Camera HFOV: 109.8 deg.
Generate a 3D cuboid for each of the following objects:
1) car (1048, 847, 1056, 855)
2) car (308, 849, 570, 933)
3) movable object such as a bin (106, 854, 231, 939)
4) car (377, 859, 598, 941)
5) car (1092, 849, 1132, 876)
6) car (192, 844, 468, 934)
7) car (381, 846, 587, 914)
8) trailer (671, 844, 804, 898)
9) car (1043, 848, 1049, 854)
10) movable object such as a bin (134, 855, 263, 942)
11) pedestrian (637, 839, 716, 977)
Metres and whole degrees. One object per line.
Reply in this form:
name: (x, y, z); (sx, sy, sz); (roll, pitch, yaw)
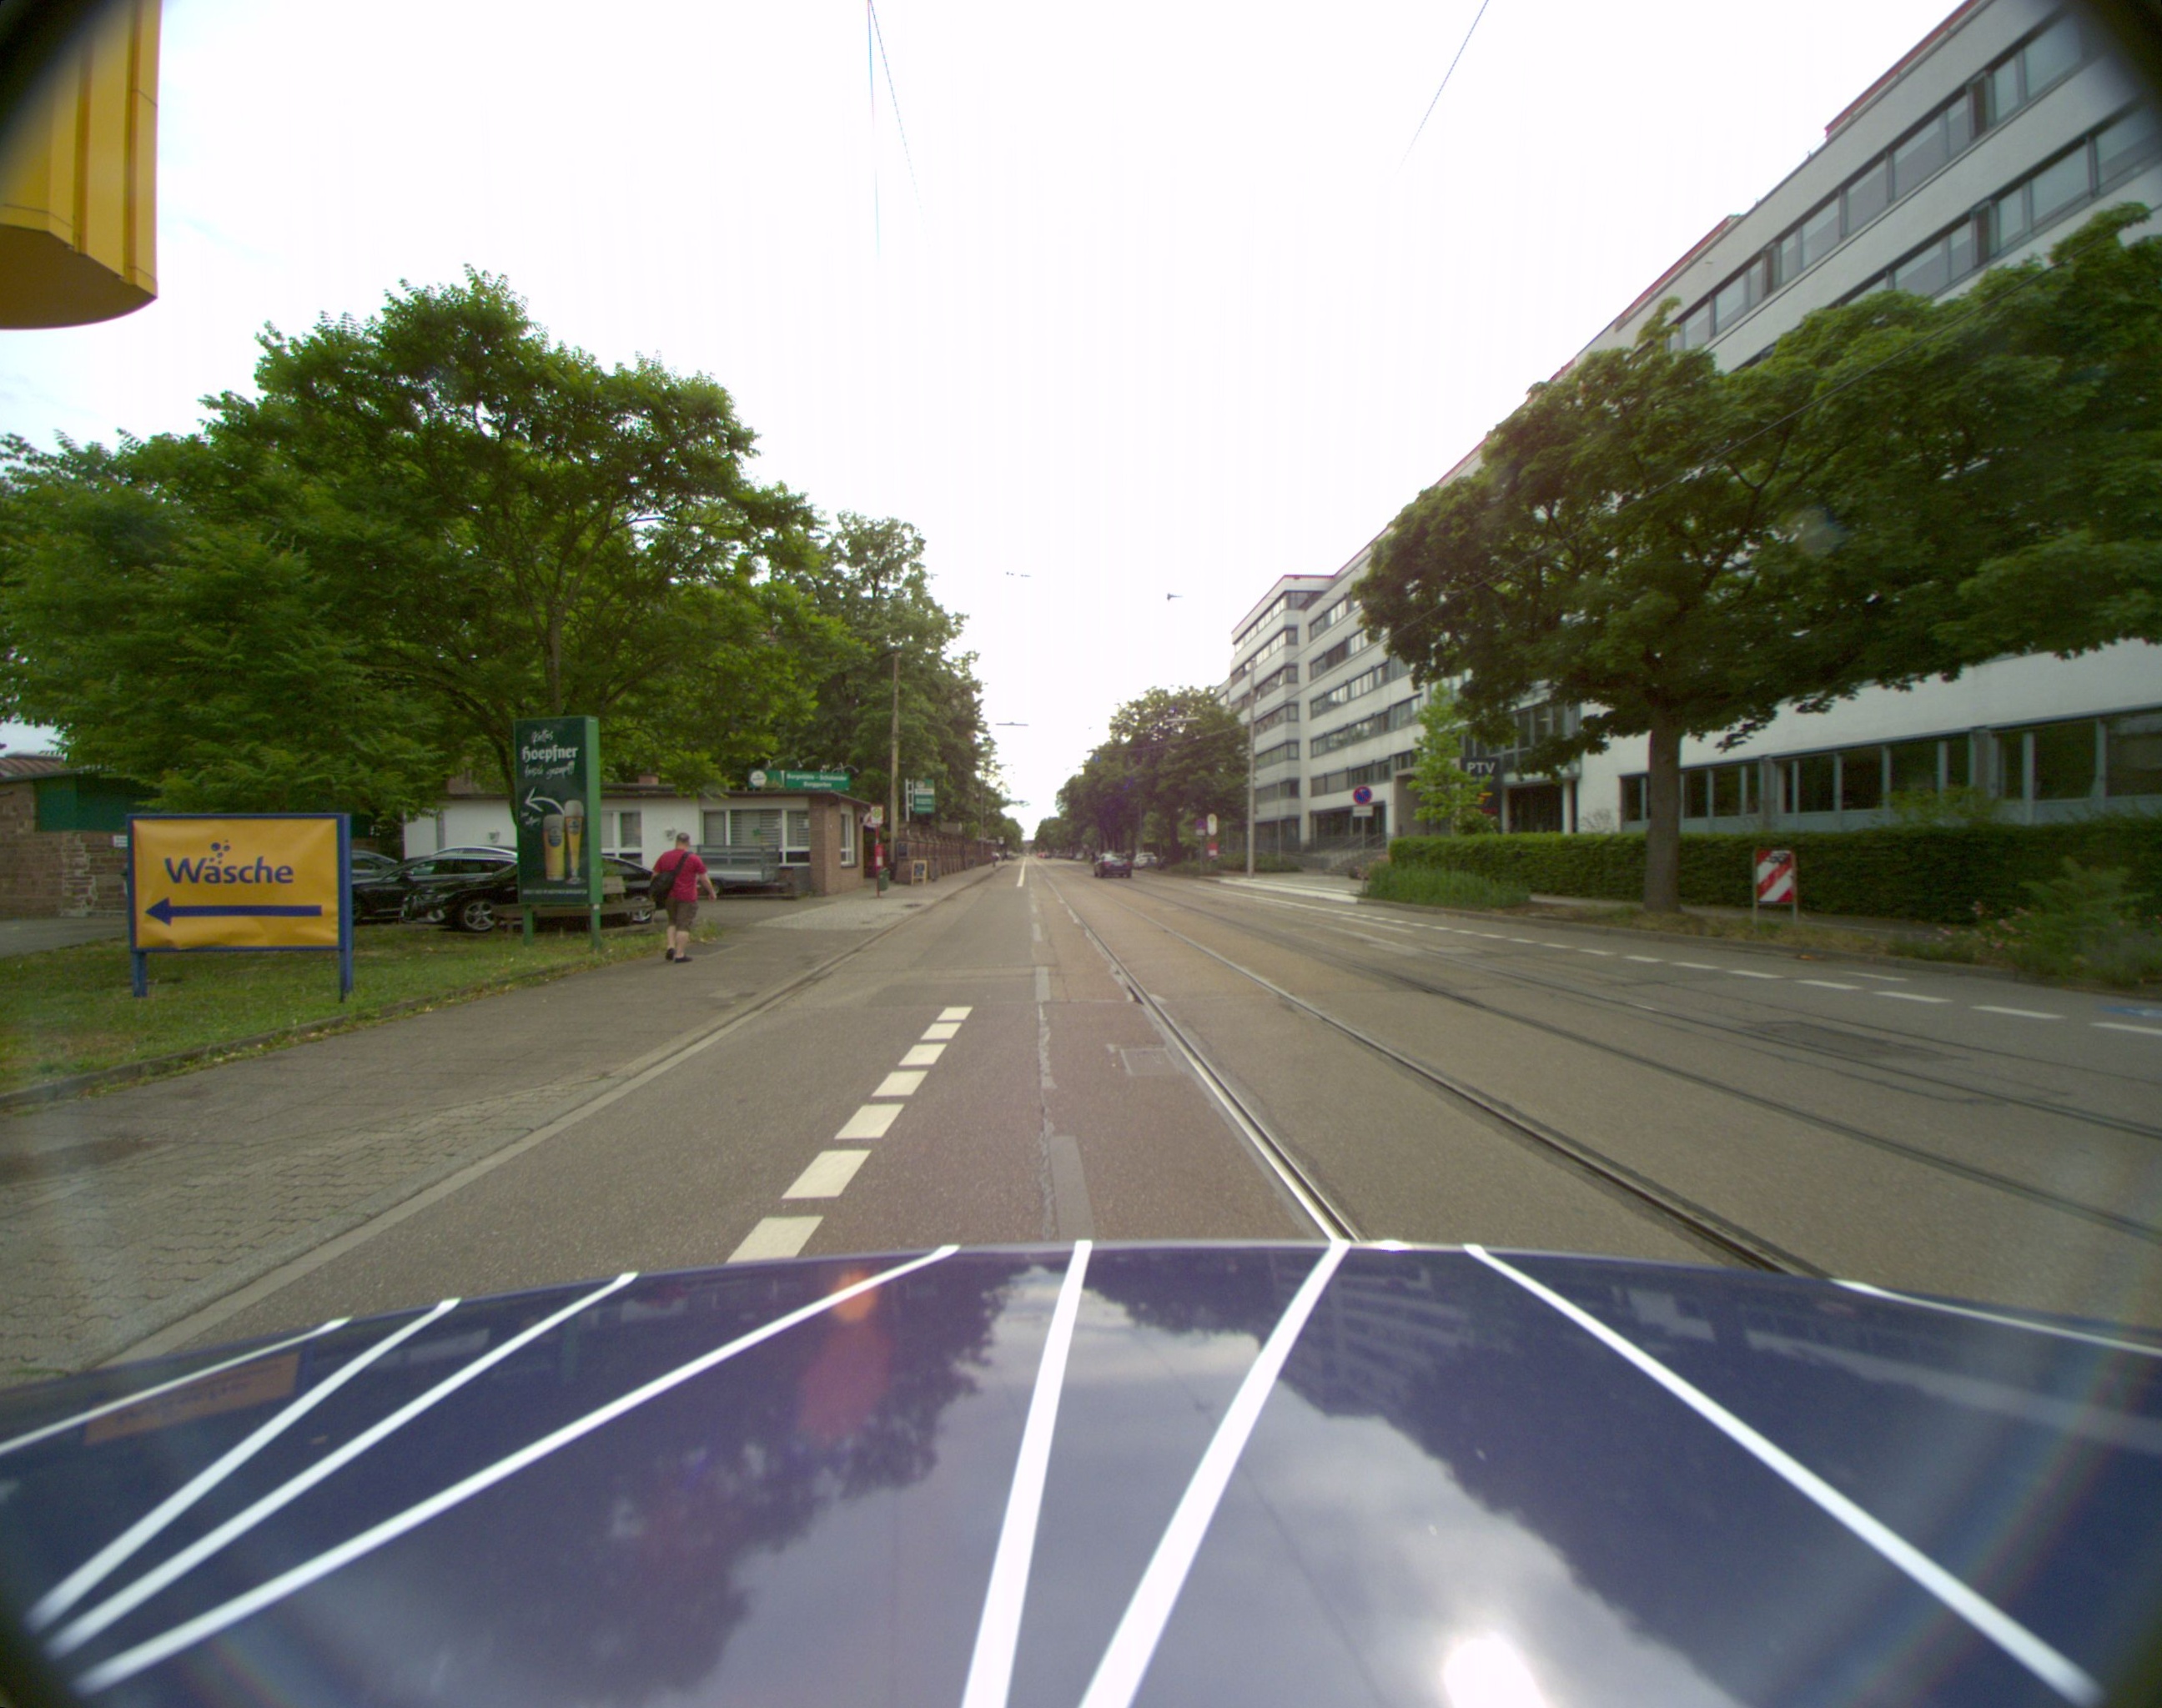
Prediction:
car: (-7.525, -0.849, 197.766); (1.998, 2.002, 3.999); (-2, 1, 1)
car: (-13.827, 0.710, 16.591); (1.821, 1.509, 4.007); (-1, 1, 37)
movable object such as a bin: (-15.626, 0.698, 13.027); (1.118, 1.351, 1.162); (-1, 1, 31)
car: (-11.456, 0.789, 15.079); (2.001, 1.281, 3.994); (-2, 1, -15)
car: (1.840, 0.486, 46.462); (1.802, 1.537, 4.477); (-2, 1, -6)
car: (-16.556, 0.682, 16.967); (1.807, 1.686, 4.033); (-1, 1, 33)
car: (-16.384, 0.674, 21.055); (3.998, 1.657, 1.999); (-2, 1, -3)
trailer: (-10.517, 0.508, 23.448); (3.291, 1.523, 1.772); (1, 3, -3)
car: (-11.107, -1.013, 241.670); (1.999, 2.002, 3.998); (-2, 1, -2)
movable object such as a bin: (-14.491, 0.699, 12.497); (1.118, 1.312, 1.162); (-1, 1, 31)
pedestrian: (-5.415, 0.687, 10.189); (0.871, 1.738, 0.848); (1, 2, -29)
